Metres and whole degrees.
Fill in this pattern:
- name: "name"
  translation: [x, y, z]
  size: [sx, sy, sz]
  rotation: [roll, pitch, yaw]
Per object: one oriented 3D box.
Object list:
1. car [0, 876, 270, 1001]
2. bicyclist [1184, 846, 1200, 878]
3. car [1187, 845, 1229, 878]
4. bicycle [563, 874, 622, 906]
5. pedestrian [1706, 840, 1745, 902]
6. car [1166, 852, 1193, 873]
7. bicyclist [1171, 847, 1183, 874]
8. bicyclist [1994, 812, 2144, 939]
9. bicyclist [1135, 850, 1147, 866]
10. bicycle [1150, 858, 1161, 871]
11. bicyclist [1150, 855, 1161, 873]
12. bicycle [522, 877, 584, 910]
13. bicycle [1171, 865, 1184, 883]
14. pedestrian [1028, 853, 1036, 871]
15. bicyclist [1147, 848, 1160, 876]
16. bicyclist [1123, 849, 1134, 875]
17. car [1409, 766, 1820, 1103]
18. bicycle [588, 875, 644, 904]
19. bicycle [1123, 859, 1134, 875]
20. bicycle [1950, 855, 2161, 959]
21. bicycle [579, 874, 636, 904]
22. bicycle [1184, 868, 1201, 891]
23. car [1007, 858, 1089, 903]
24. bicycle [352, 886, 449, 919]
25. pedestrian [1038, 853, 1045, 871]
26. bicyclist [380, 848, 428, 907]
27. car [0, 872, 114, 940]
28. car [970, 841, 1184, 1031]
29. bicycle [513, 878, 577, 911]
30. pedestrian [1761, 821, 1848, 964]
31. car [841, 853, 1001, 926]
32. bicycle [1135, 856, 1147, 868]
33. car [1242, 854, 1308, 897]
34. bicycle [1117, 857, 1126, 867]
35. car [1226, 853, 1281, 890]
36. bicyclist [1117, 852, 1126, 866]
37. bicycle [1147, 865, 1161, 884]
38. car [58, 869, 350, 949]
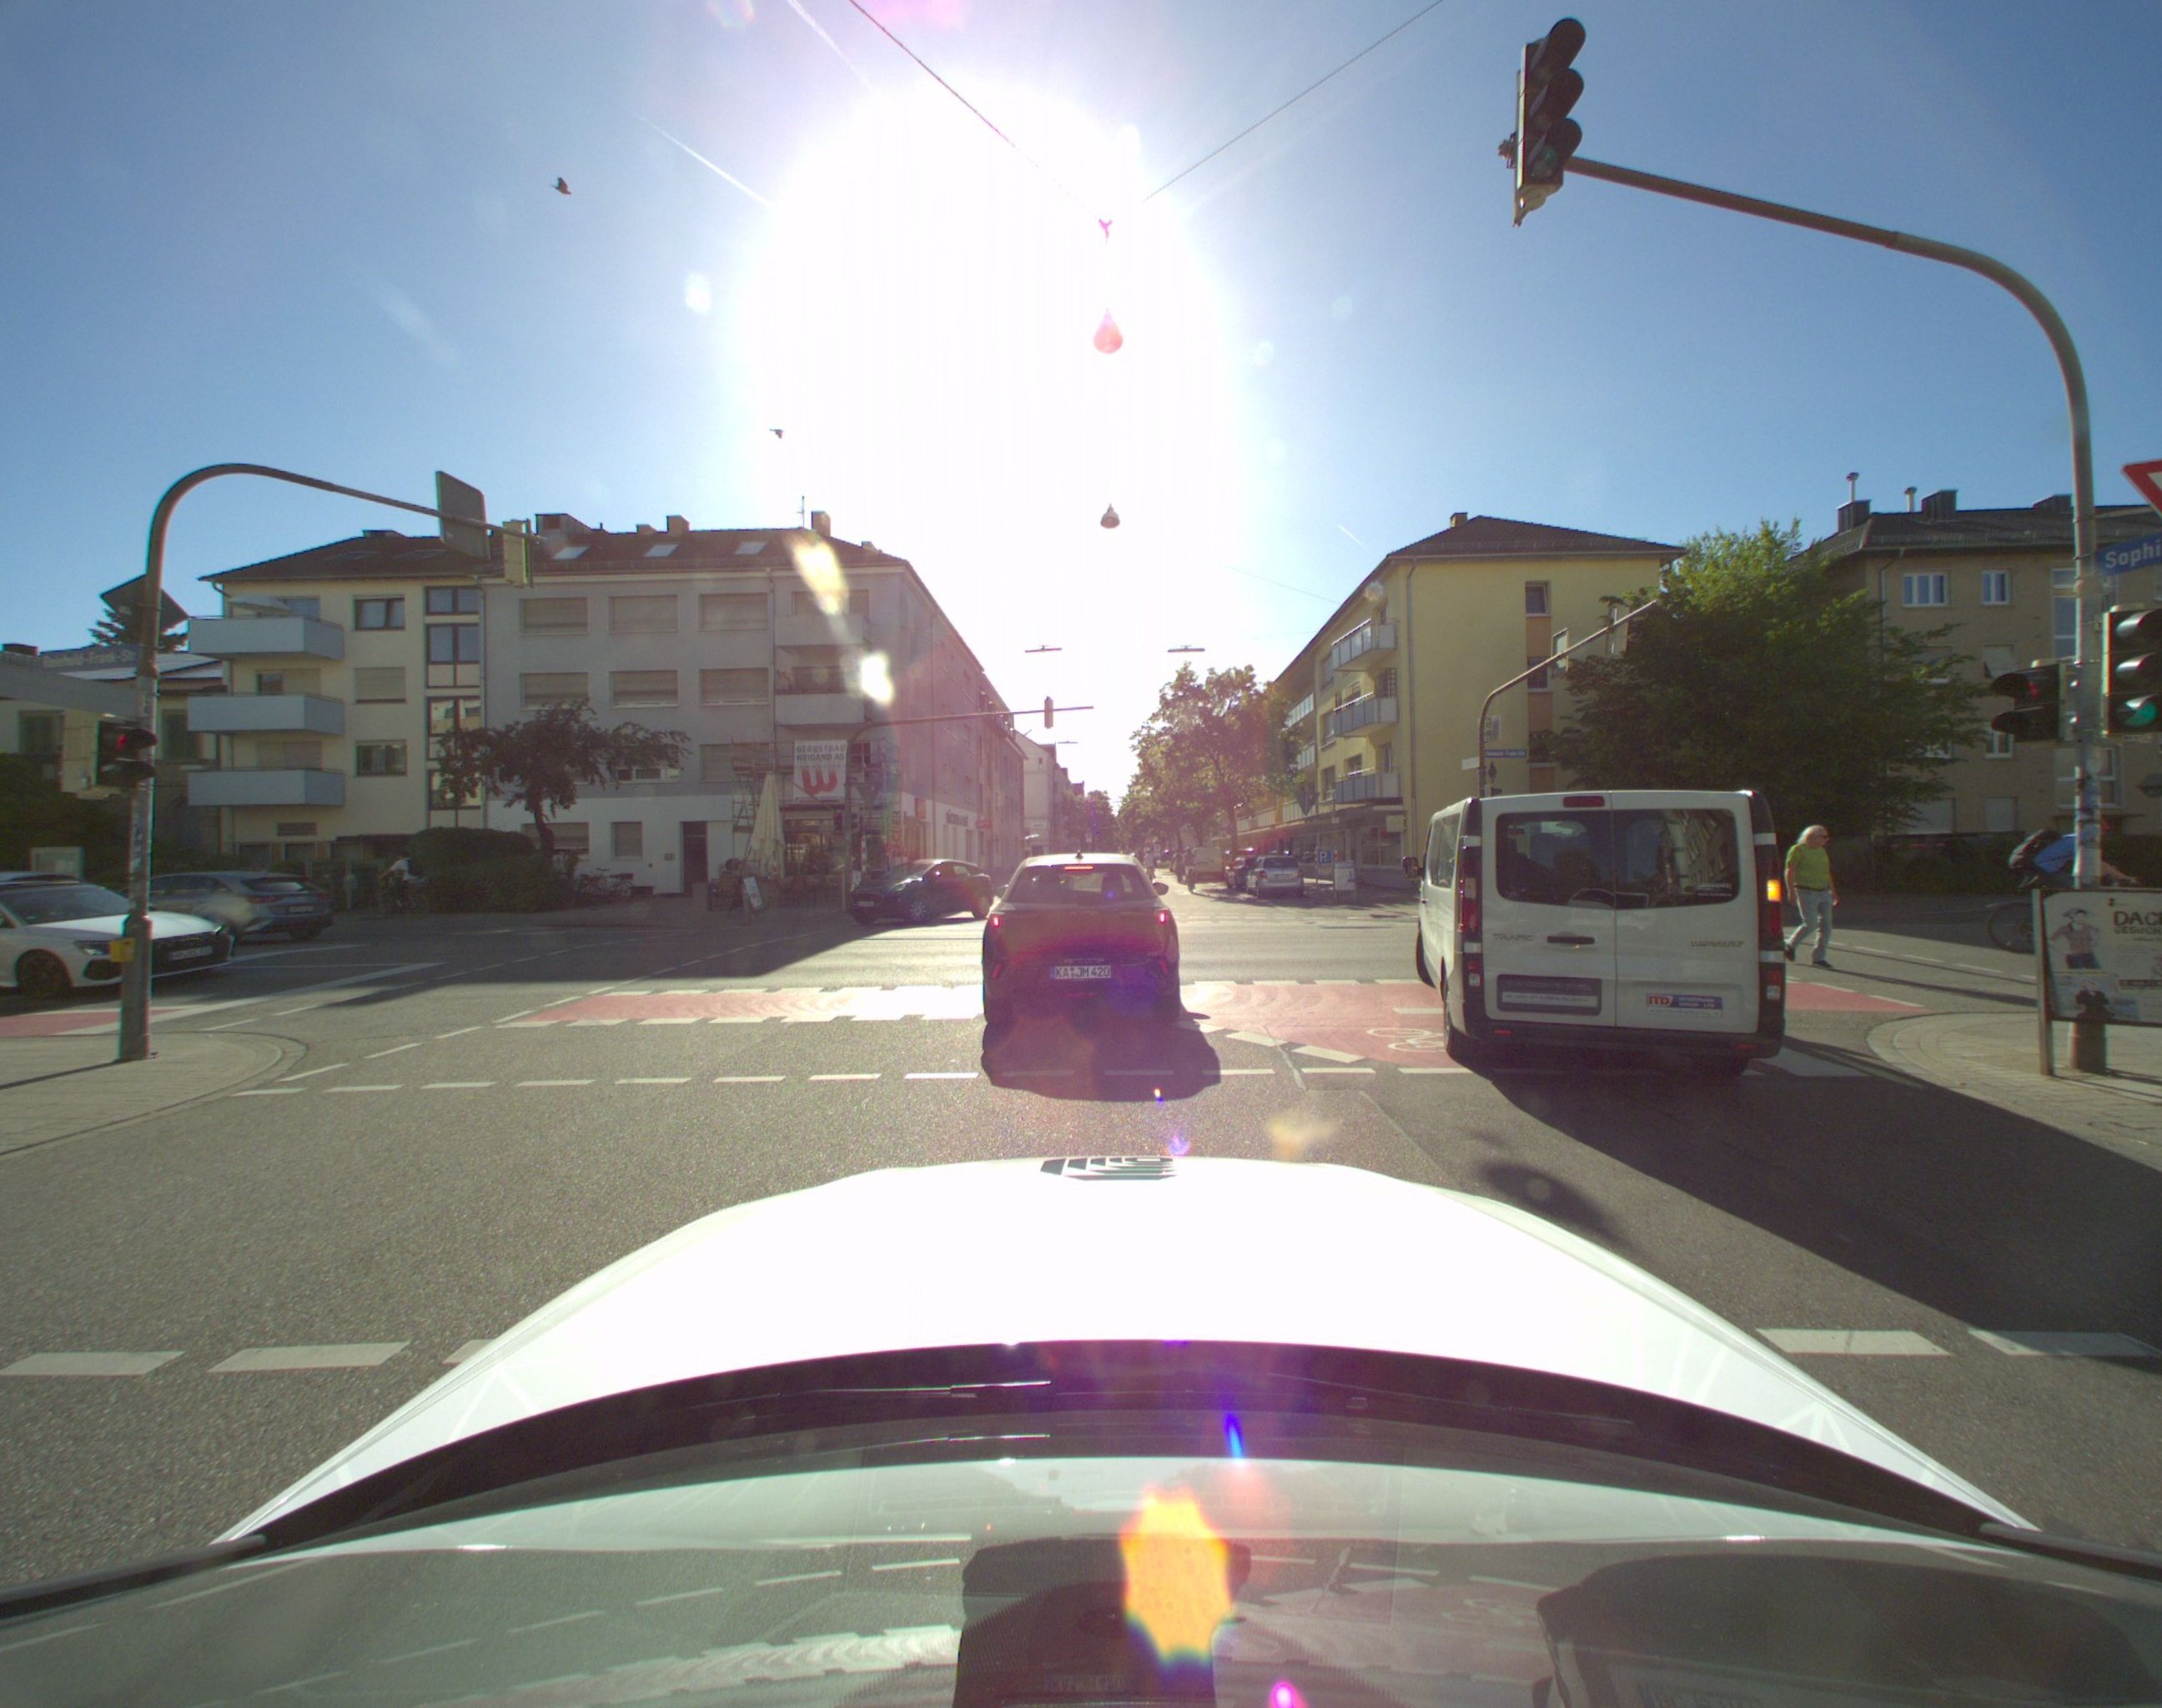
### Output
- name: "car"
  translation: [-14.472, 1.119, 11.455]
  size: [4.235, 1.435, 1.937]
  rotation: [0, 3, 4]
- name: "bicyclist"
  translation: [4.471, 0.319, 32.768]
  size: [0.544, 1.262, 0.803]
  rotation: [-1, 0, 3]
- name: "car"
  translation: [7.482, 0.403, 48.345]
  size: [2.037, 1.846, 4.588]
  rotation: [-1, 0, 3]
- name: "bicycle"
  translation: [-15.448, 1.134, 25.774]
  size: [1.581, 0.940, 0.513]
  rotation: [-1, 0, 4]
- name: "pedestrian"
  translation: [16.455, 0.427, 20.793]
  size: [0.537, 1.571, 0.539]
  rotation: [-1, 0, 2]
- name: "car"
  translation: [7.279, 0.624, 60.479]
  size: [1.706, 1.483, 3.383]
  rotation: [-1, 0, 2]
- name: "bicyclist"
  translation: [5.026, 0.328, 42.662]
  size: [0.544, 1.382, 0.823]
  rotation: [-1, 0, 3]
- name: "bicyclist"
  translation: [13.542, 0.248, 11.218]
  size: [1.111, 1.649, 0.809]
  rotation: [2, 3, 37]
- name: "bicyclist"
  translation: [4.925, 0.303, 66.964]
  size: [0.853, 1.314, 1.211]
  rotation: [1, 0, 2]
- name: "bicycle"
  translation: [5.005, 0.707, 54.625]
  size: [0.688, 0.866, 1.878]
  rotation: [-1, 0, 3]
- name: "bicyclist"
  translation: [5.010, 0.657, 54.672]
  size: [0.689, 1.193, 0.595]
  rotation: [-1, 0, 3]
- name: "bicycle"
  translation: [-16.140, 1.207, 24.909]
  size: [1.581, 0.940, 0.513]
  rotation: [-1, 0, 4]
- name: "bicycle"
  translation: [5.040, 1.026, 42.704]
  size: [0.544, 0.866, 1.878]
  rotation: [-1, 0, 3]
- name: "pedestrian"
  translation: [-4.210, 0.689, 69.952]
  size: [0.575, 1.467, 0.702]
  rotation: [-1, 0, -3]
- name: "bicyclist"
  translation: [3.593, 0.380, 40.455]
  size: [0.586, 1.382, 0.823]
  rotation: [-1, 0, 3]
- name: "bicyclist"
  translation: [3.091, 0.546, 53.304]
  size: [0.630, 1.669, 1.051]
  rotation: [-2, 0, 2]
- name: "car"
  translation: [4.164, 0.474, 7.400]
  size: [1.952, 1.940, 5.080]
  rotation: [0, 0, 19]
- name: "bicycle"
  translation: [-15.592, 1.188, 27.301]
  size: [1.581, 0.940, 0.513]
  rotation: [-1, 0, 4]
- name: "bicycle"
  translation: [3.130, 0.852, 53.412]
  size: [0.630, 1.041, 1.796]
  rotation: [-2, 0, 2]
- name: "bicycle"
  translation: [13.585, 0.686, 11.187]
  size: [2.111, 1.255, 0.809]
  rotation: [2, 3, 38]
- name: "bicycle"
  translation: [-15.457, 1.140, 26.583]
  size: [1.581, 0.940, 0.513]
  rotation: [-1, 0, 4]
- name: "bicycle"
  translation: [4.493, 1.024, 32.880]
  size: [0.544, 0.866, 1.878]
  rotation: [-1, 0, 3]
- name: "car"
  translation: [-1.121, 0.922, 29.917]
  size: [1.792, 1.413, 4.442]
  rotation: [-3, 0, 14]
- name: "bicycle"
  translation: [-18.067, 1.274, 21.634]
  size: [2.117, 0.833, 0.555]
  rotation: [0, 0, 1]
- name: "pedestrian"
  translation: [-3.417, 0.674, 69.788]
  size: [0.575, 1.583, 0.707]
  rotation: [-1, 0, -3]
- name: "bicyclist"
  translation: [-17.996, 0.621, 21.647]
  size: [0.809, 1.549, 0.555]
  rotation: [0, 0, 1]
- name: "car"
  translation: [-26.886, 1.269, 19.997]
  size: [3.972, 1.519, 1.917]
  rotation: [-1, 1, 1]
- name: "car"
  translation: [0.036, 0.696, 8.795]
  size: [1.755, 1.558, 4.002]
  rotation: [-1, 0, 2]
- name: "bicycle"
  translation: [-15.994, 1.202, 24.298]
  size: [1.581, 0.940, 0.513]
  rotation: [-1, 0, 4]
- name: "pedestrian"
  translation: [9.221, 0.481, 10.393]
  size: [0.523, 1.762, 0.623]
  rotation: [-1, 0, 0]
- name: "car"
  translation: [-3.806, 0.803, 20.055]
  size: [1.577, 1.566, 4.114]
  rotation: [-2, -1, 28]
- name: "bicycle"
  translation: [4.927, 0.673, 67.107]
  size: [0.853, 0.945, 2.308]
  rotation: [1, 0, 2]
- name: "car"
  translation: [7.058, 0.742, 29.872]
  size: [1.706, 1.483, 3.482]
  rotation: [-1, 0, 2]
- name: "bicycle"
  translation: [4.036, 0.815, 81.402]
  size: [0.853, 0.945, 2.308]
  rotation: [1, 0, 2]
- name: "car"
  translation: [7.229, 0.705, 34.372]
  size: [1.706, 1.483, 3.383]
  rotation: [-1, 0, 2]
- name: "bicyclist"
  translation: [4.039, 0.508, 81.422]
  size: [0.853, 1.314, 1.211]
  rotation: [1, 0, 2]
- name: "bicycle"
  translation: [3.602, 1.005, 40.498]
  size: [0.617, 0.866, 1.878]
  rotation: [-1, 0, 3]
- name: "car"
  translation: [-17.454, 1.066, 16.322]
  size: [4.141, 1.433, 1.847]
  rotation: [-1, 0, 6]
